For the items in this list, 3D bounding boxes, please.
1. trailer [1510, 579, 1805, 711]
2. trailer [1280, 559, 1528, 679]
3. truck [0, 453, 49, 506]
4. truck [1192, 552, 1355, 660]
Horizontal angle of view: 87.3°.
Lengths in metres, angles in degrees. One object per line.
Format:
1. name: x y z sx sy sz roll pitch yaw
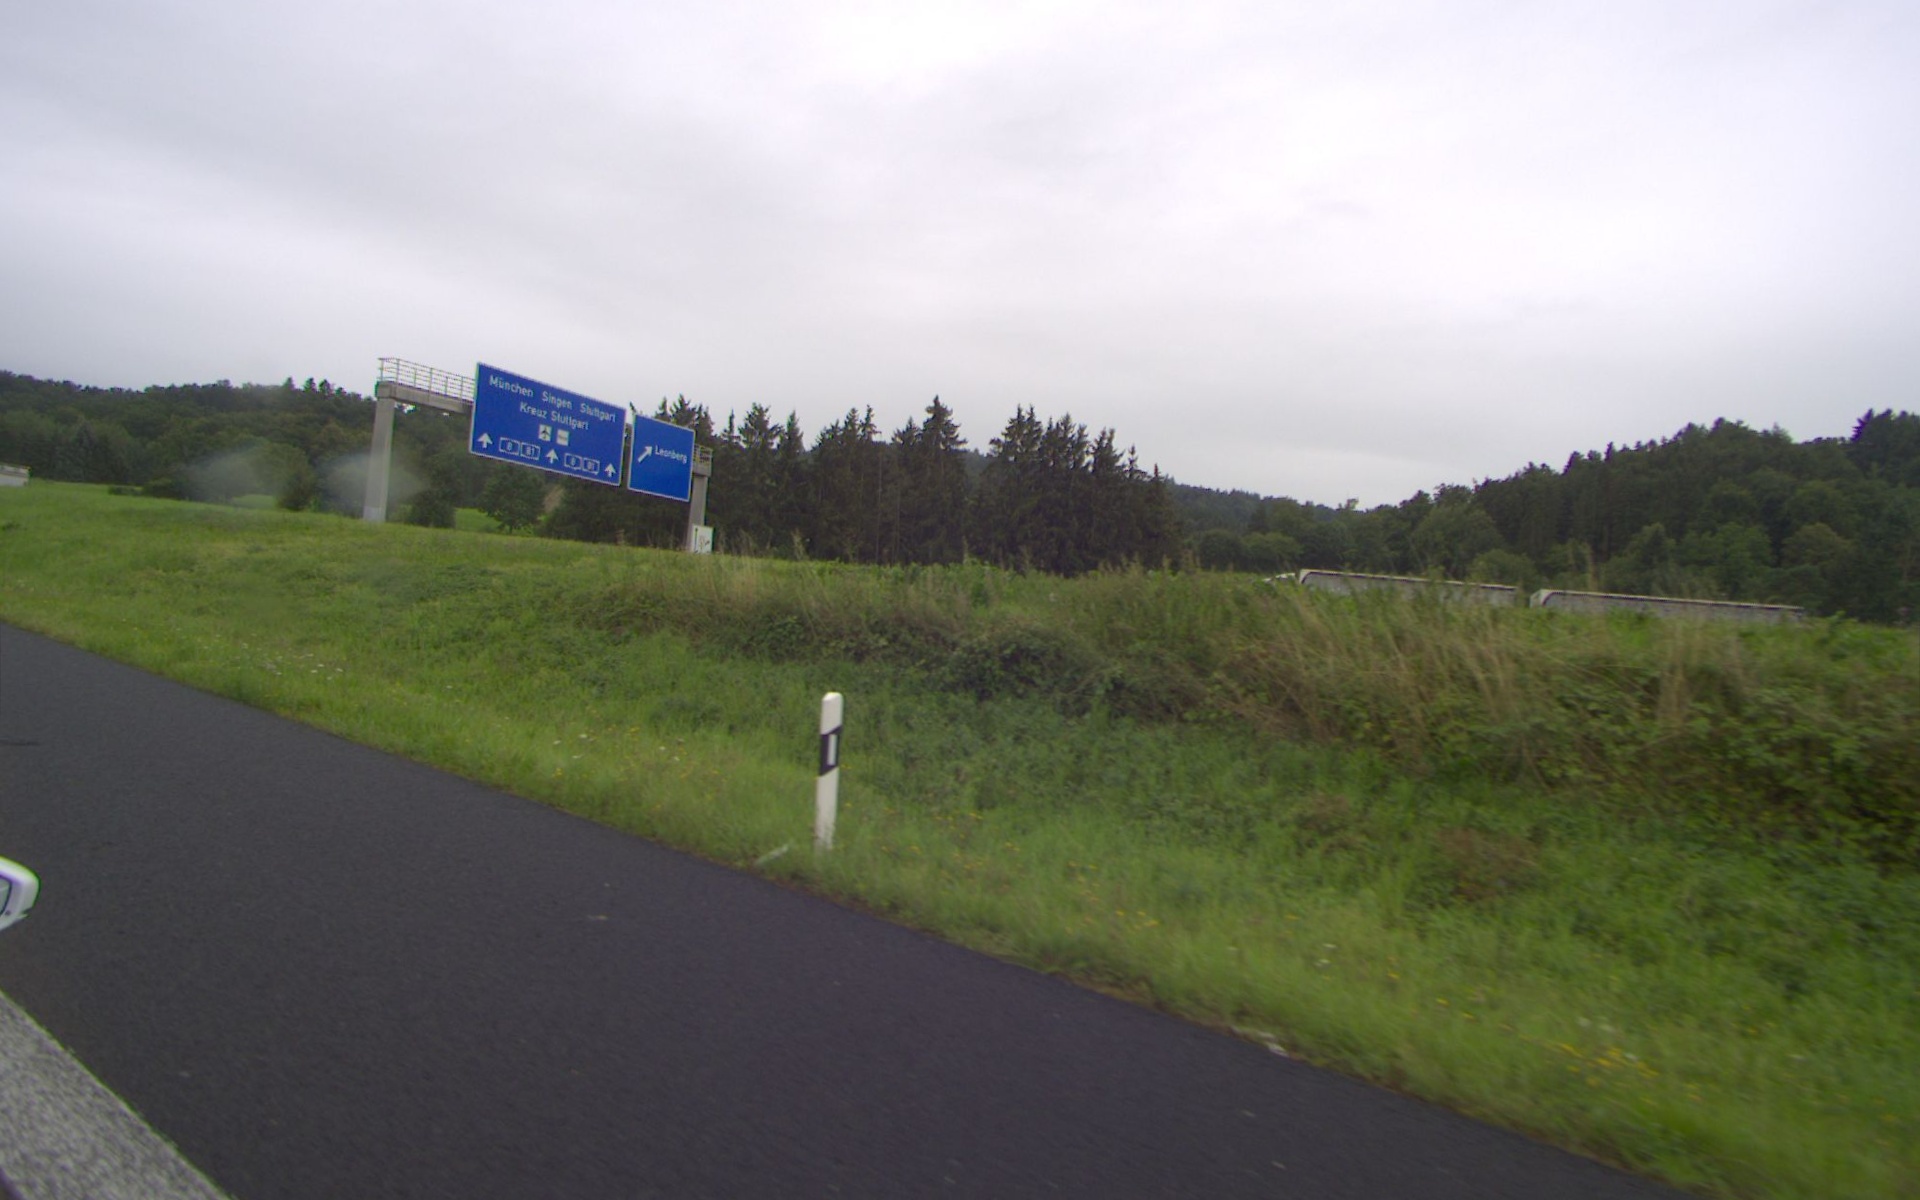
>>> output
1. trailer: 24.679 1.593 36.228 7.938 3.568 3.089 7 -1 24
2. trailer: 17.193 0.740 39.486 8.266 3.568 2.949 7 -1 23
3. truck: -79.014 -10.102 82.366 8.129 3.701 3.836 7 -2 28
4. truck: 12.879 0.261 41.315 5.818 3.568 2.949 7 -1 22
